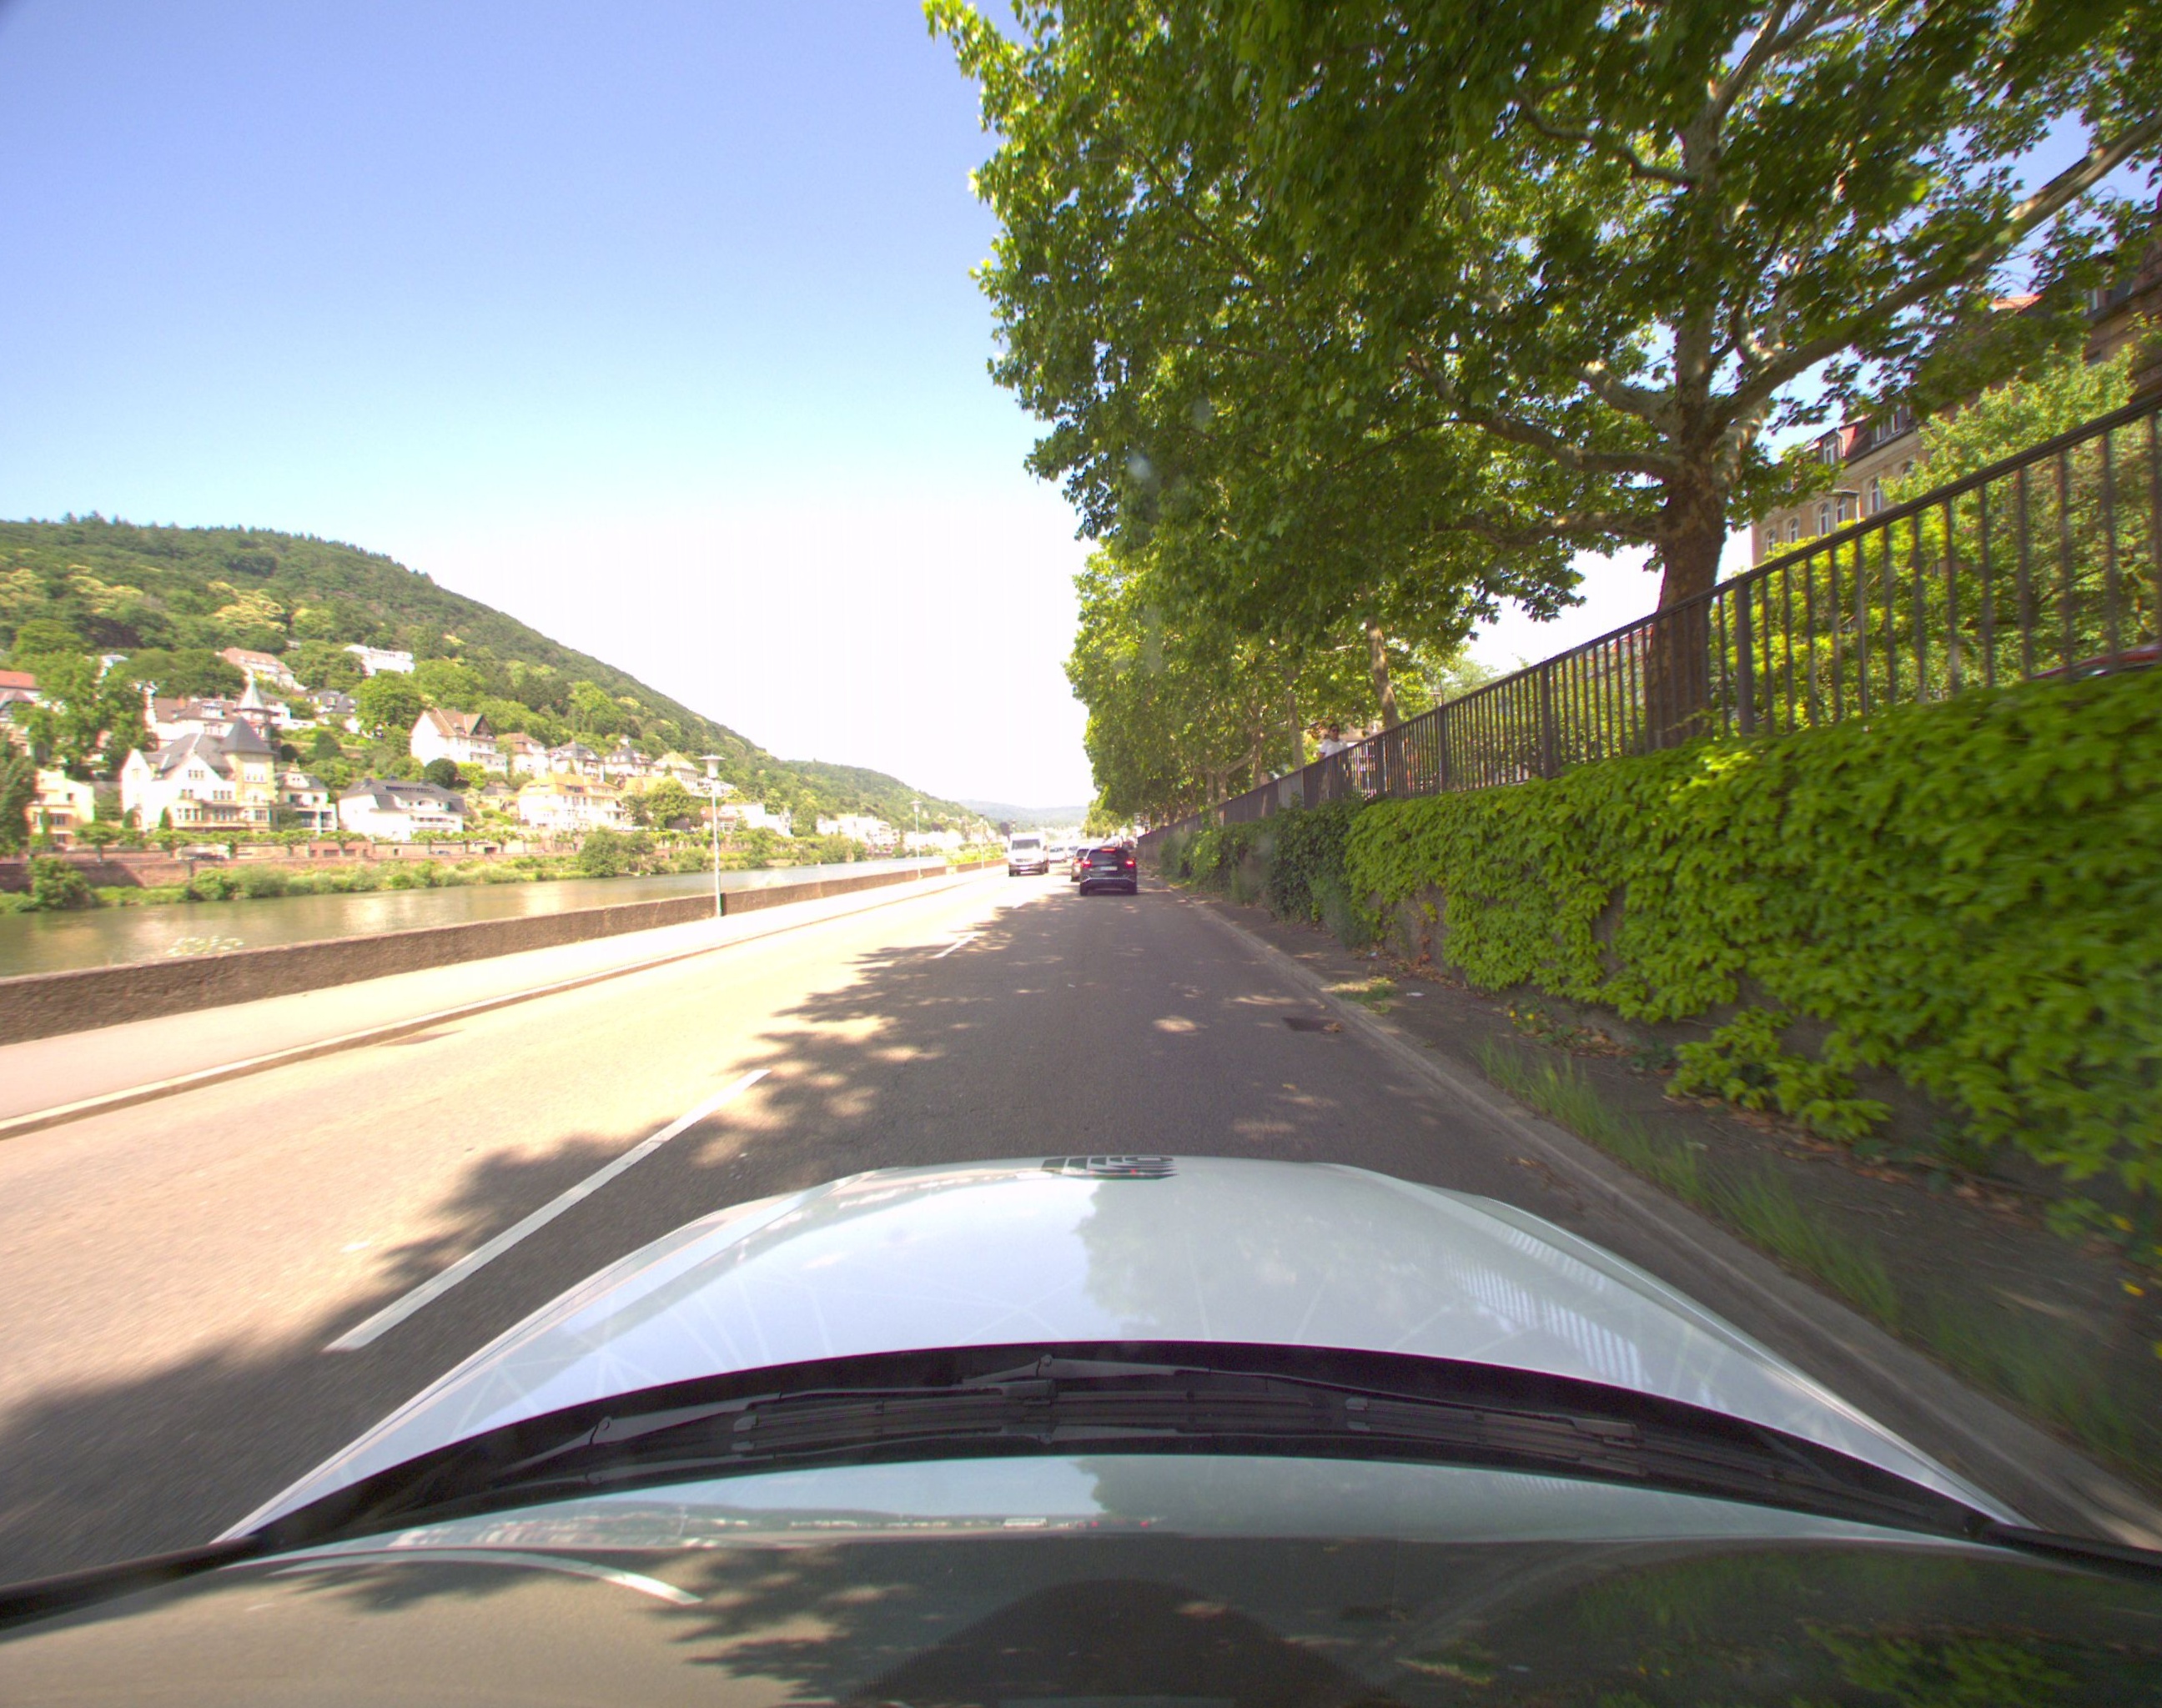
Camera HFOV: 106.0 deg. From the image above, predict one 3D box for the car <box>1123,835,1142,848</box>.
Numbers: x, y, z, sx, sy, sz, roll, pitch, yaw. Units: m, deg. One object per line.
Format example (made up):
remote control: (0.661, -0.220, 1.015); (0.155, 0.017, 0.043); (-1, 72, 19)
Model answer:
car: (9.447, -2.282, 150.562); (3.087, 2.013, 5.826); (-5, 1, 1)

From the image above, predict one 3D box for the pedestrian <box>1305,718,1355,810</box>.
pedestrian: (4.590, -1.642, 15.028); (0.662, 1.591, 0.651); (-3, 0, 1)

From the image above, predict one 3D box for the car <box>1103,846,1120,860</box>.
car: (3.323, -0.159, 89.510); (1.822, 1.444, 4.001); (-2, 1, 1)

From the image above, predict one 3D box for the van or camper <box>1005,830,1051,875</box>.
van or camper: (-2.972, -0.098, 47.210); (2.069, 2.398, 5.387); (-2, 1, 2)

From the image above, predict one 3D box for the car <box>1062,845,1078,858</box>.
car: (-1.259, -0.275, 97.544); (1.725, 1.441, 4.046); (-3, 1, 1)

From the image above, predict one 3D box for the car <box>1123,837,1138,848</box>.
car: (9.760, -2.235, 161.178); (2.652, 2.013, 5.826); (-5, 1, 1)

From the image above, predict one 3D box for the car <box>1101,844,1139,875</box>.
car: (1.977, 0.259, 41.991); (1.822, 1.486, 4.001); (-1, 1, 1)

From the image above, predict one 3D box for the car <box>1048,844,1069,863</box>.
car: (-2.093, -0.062, 77.174); (1.725, 1.650, 4.178); (-4, 1, 1)

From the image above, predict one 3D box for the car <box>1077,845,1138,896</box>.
car: (0.842, 0.473, 26.426); (1.822, 1.486, 4.001); (-1, 1, 1)

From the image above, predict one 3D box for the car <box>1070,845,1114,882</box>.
car: (0.501, 0.362, 36.376); (1.822, 1.511, 4.001); (-1, 1, 1)

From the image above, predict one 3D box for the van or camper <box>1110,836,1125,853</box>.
van or camper: (6.225, -1.648, 139.271); (2.300, 2.847, 4.249); (-2, 0, 3)

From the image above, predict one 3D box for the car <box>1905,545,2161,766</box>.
car: (8.020, -1.279, 5.292); (3.720, 1.115, 1.650); (-2, 0, -1)

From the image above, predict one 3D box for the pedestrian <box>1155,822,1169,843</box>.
pedestrian: (6.470, -1.685, 65.003); (0.934, 1.579, 1.028); (-5, 0, -1)

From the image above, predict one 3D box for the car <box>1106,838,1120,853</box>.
car: (4.968, -1.356, 127.235); (1.986, 2.169, 4.001); (-1, 1, 1)
